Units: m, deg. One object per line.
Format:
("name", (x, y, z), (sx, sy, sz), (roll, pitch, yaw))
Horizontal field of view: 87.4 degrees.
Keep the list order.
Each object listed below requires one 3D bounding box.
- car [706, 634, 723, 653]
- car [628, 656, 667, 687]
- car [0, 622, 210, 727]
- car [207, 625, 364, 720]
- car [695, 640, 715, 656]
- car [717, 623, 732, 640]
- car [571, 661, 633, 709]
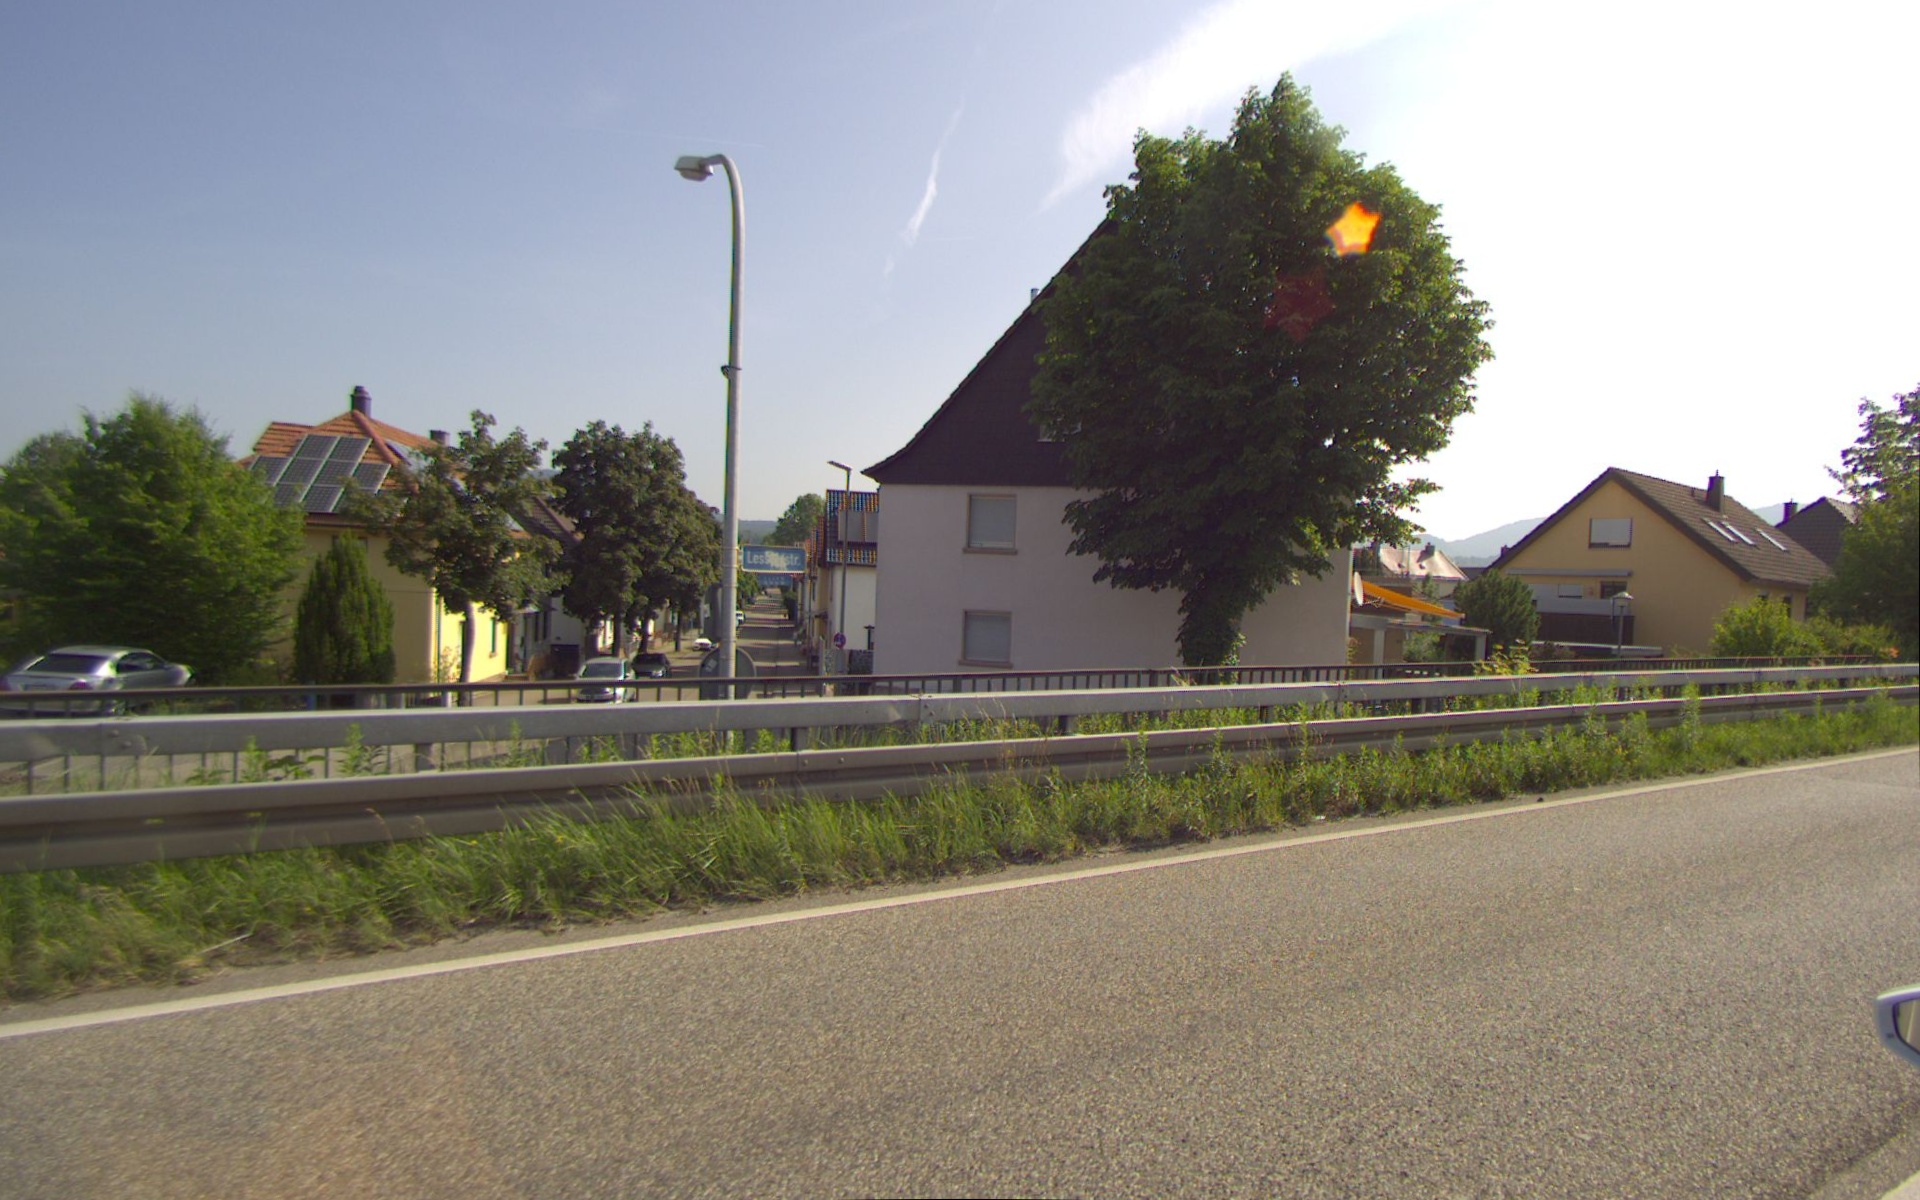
("car", (-24.412, 4.307, 99.817), (1.530, 1.880, 3.834), (2, -2, -15))
("car", (-14.323, 3.252, 46.160), (1.530, 1.267, 3.834), (0, -2, -15))
("car", (-19.188, 1.581, 22.620), (1.829, 1.655, 4.562), (4, 3, -11))
("car", (-16.317, 1.695, 24.549), (1.831, 1.655, 4.158), (4, 3, -15))
("car", (-21.547, 4.056, 84.768), (1.530, 1.267, 3.834), (2, -2, -15))
("car", (-28.063, 3.773, 119.779), (1.530, 1.880, 3.834), (2, -2, -15))
("car", (-12.459, 2.924, 35.118), (1.726, 1.458, 3.834), (0, -2, -15))
